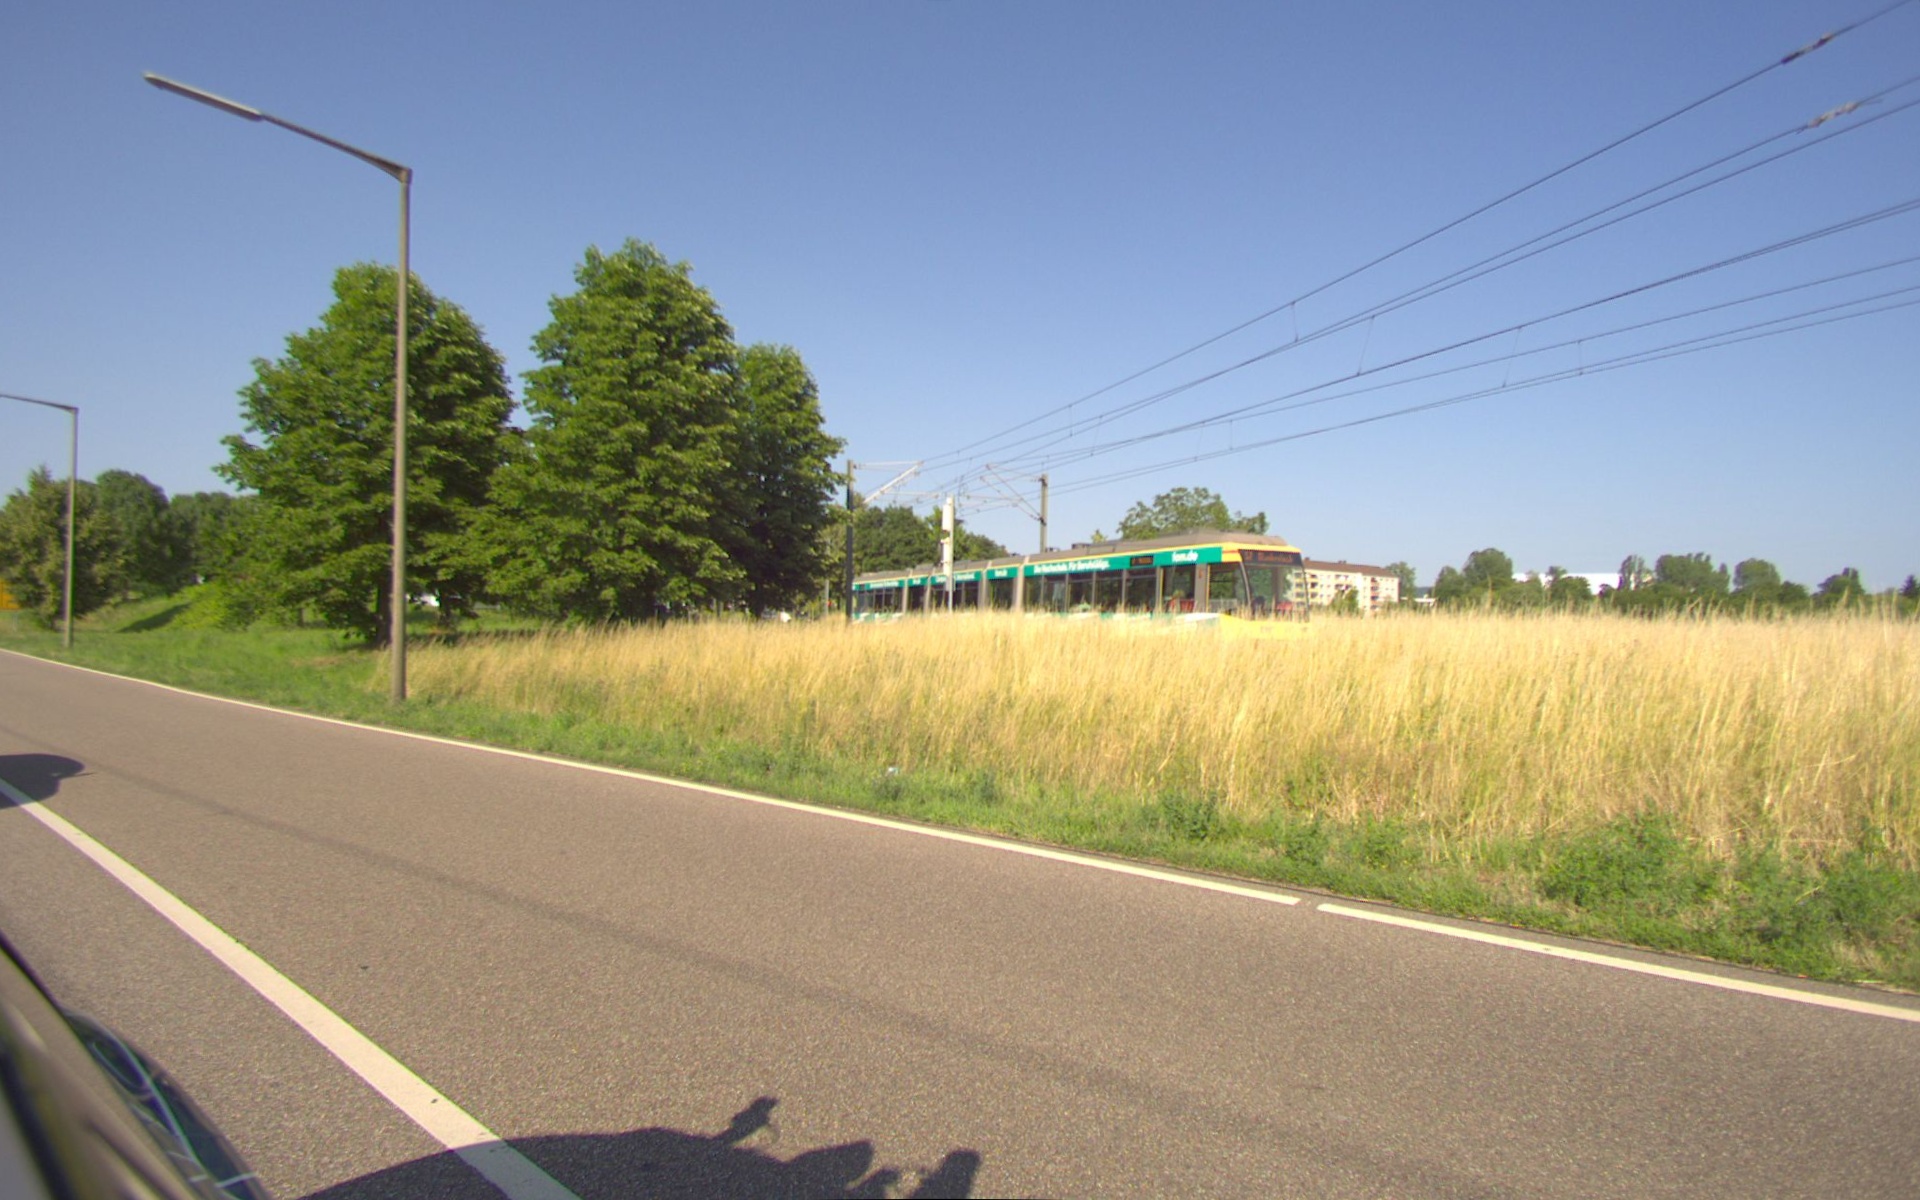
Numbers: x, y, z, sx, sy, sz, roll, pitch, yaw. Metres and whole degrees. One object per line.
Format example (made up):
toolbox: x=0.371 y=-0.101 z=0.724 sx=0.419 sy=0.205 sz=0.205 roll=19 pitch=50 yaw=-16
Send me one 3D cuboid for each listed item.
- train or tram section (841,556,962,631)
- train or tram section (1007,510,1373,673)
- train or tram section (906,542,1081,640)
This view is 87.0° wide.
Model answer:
train or tram section: x=-3.414 y=-0.262 z=53.512 sx=2.909 sy=3.511 sz=12.205 roll=0 pitch=0 yaw=-20
train or tram section: x=5.609 y=-0.332 z=29.575 sx=2.865 sy=3.595 sz=14.309 roll=0 pitch=1 yaw=-21
train or tram section: x=0.943 y=-0.356 z=42.028 sx=2.876 sy=3.480 sz=12.205 roll=0 pitch=0 yaw=-20
